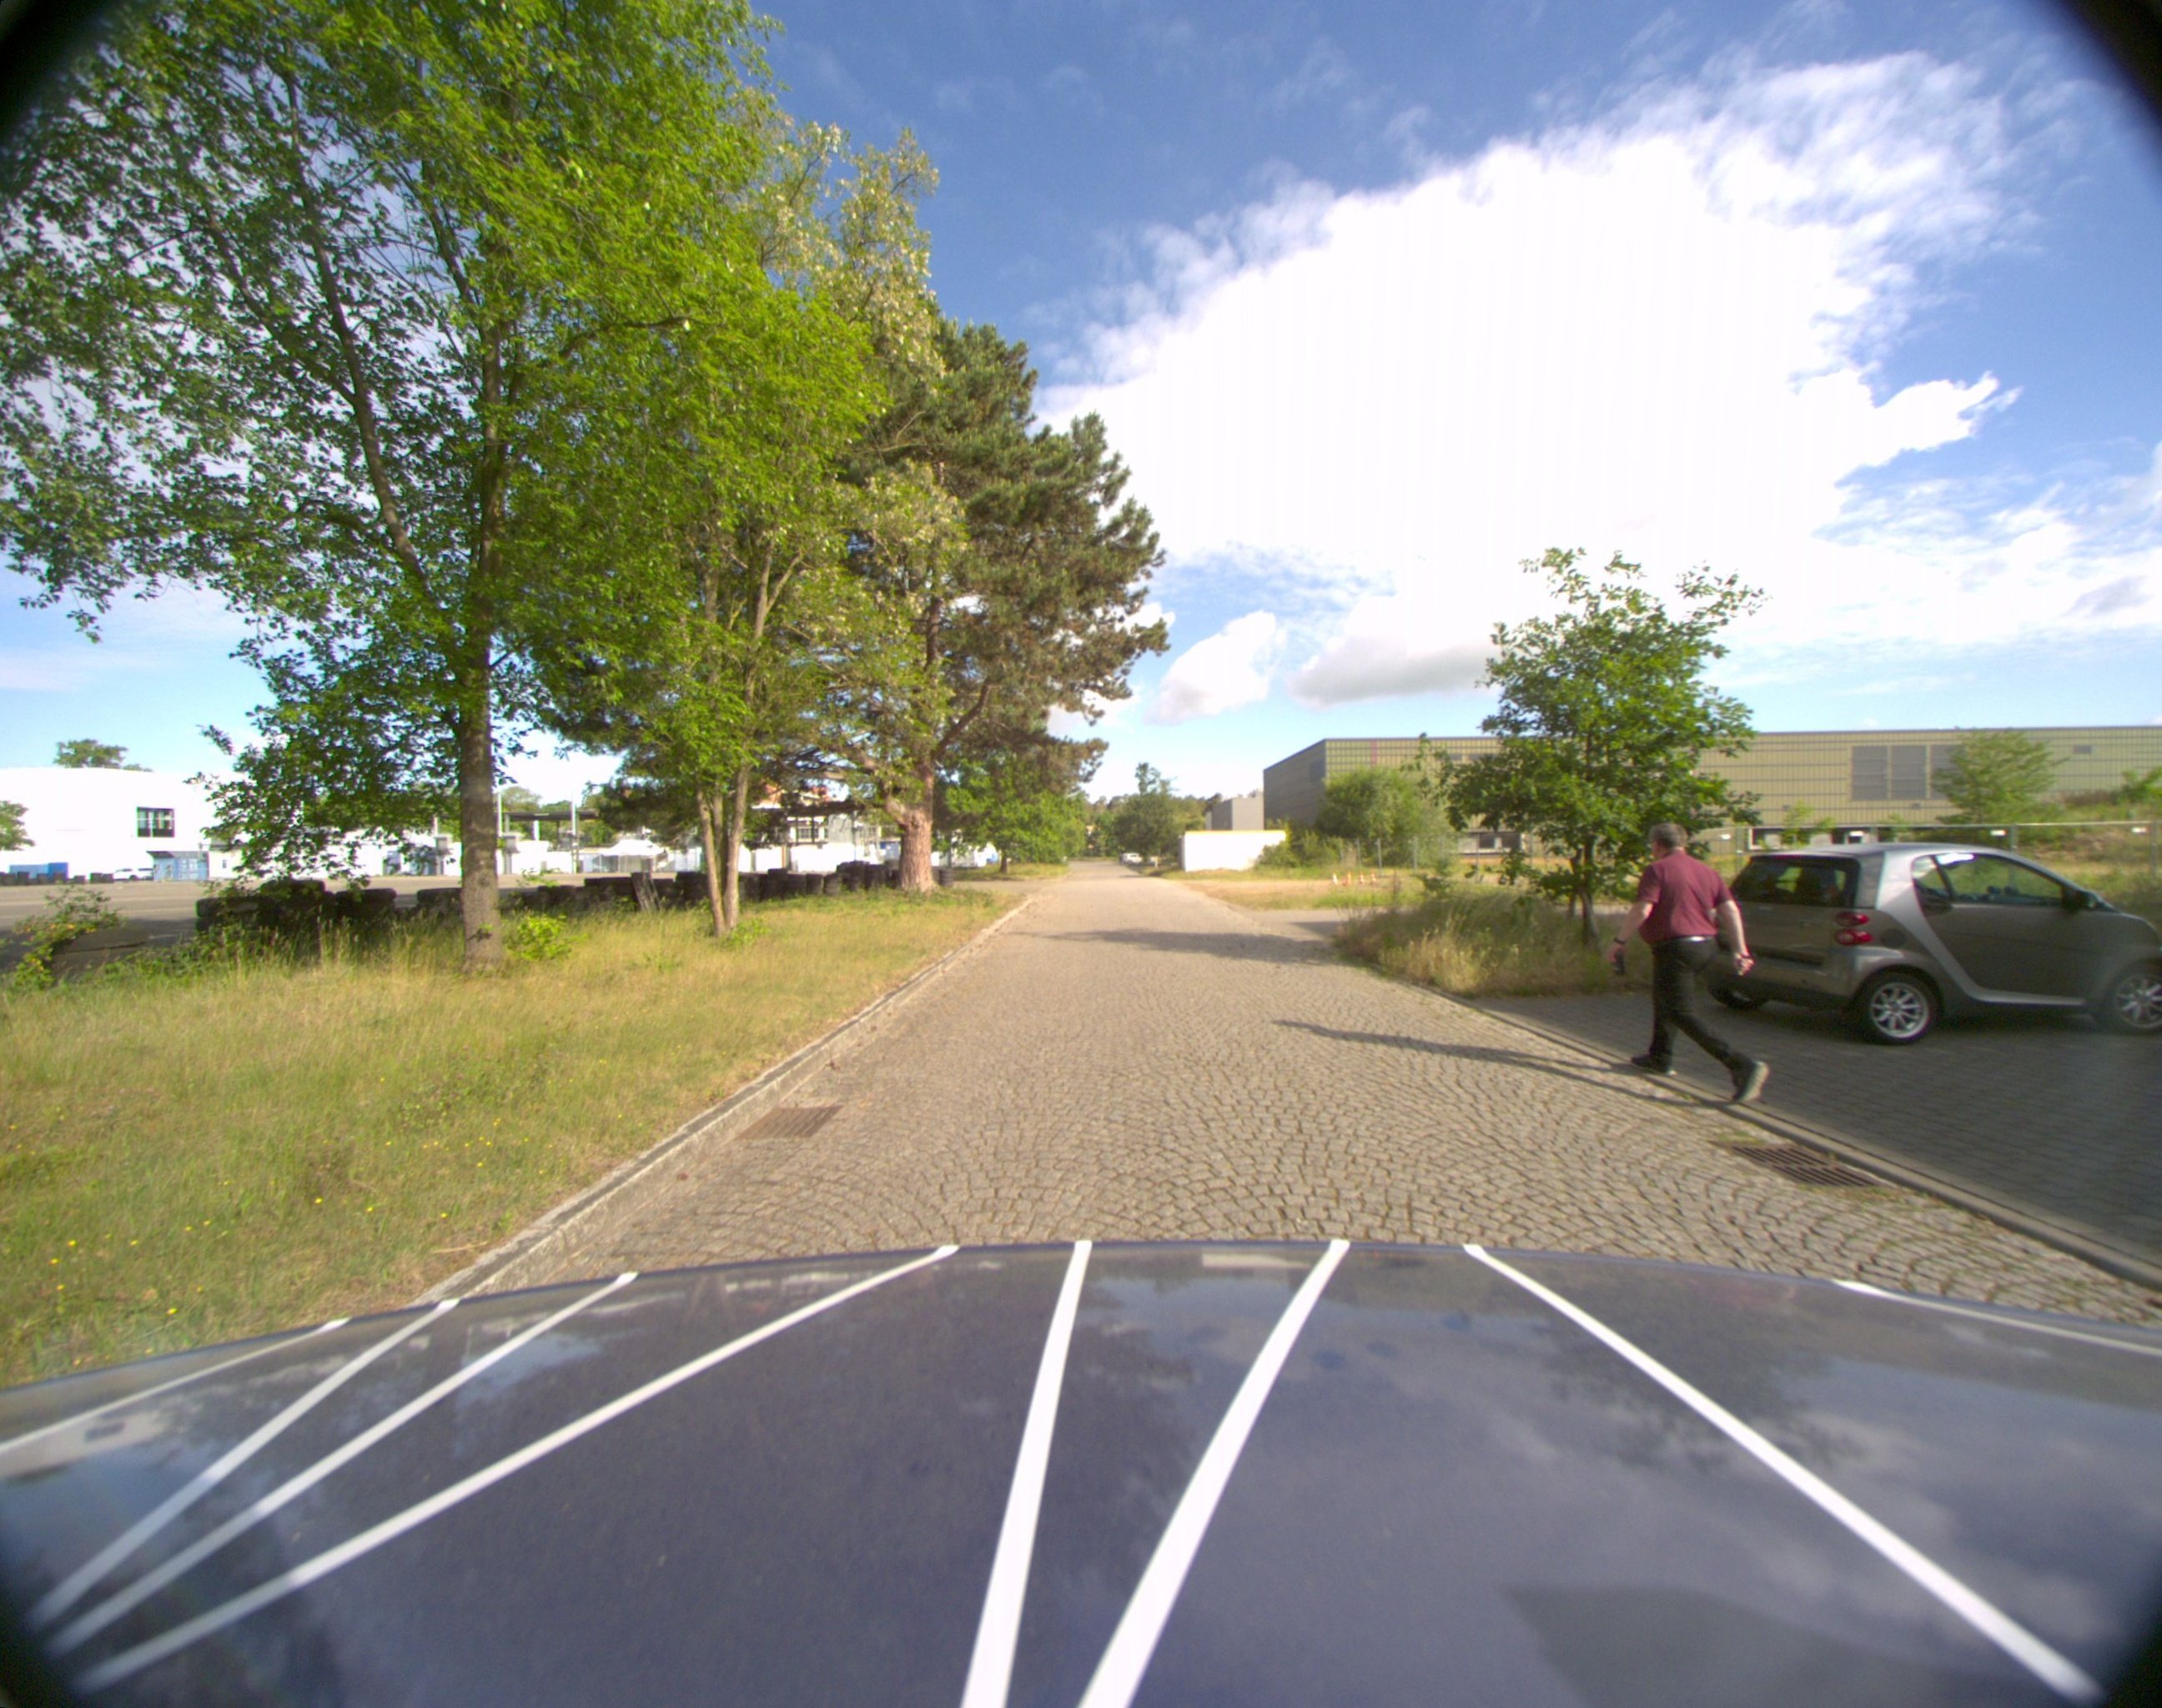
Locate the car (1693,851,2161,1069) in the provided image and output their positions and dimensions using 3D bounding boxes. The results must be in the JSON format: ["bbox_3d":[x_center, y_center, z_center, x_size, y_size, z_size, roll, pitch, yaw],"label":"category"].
[{"bbox_3d":[7.211,0.797,6.488,2.705,1.533,1.518,-2,1,0],"label":"car"}]

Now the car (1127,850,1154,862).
[{"bbox_3d":[8.917,0.308,113.803,3.996,1.678,2.000,-1,1,4],"label":"car"}]

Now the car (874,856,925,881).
[{"bbox_3d":[-11.417,0.867,47.996,1.846,1.440,4.002,-1,0,7],"label":"car"}]

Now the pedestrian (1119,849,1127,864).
[{"bbox_3d":[5.223,0.341,94.545,0.908,1.797,0.983,-1,1,-6],"label":"pedestrian"}]

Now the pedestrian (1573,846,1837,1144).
[{"bbox_3d":[4.092,0.835,5.101,0.806,1.761,1.152,-1,1,-3],"label":"pedestrian"}]
